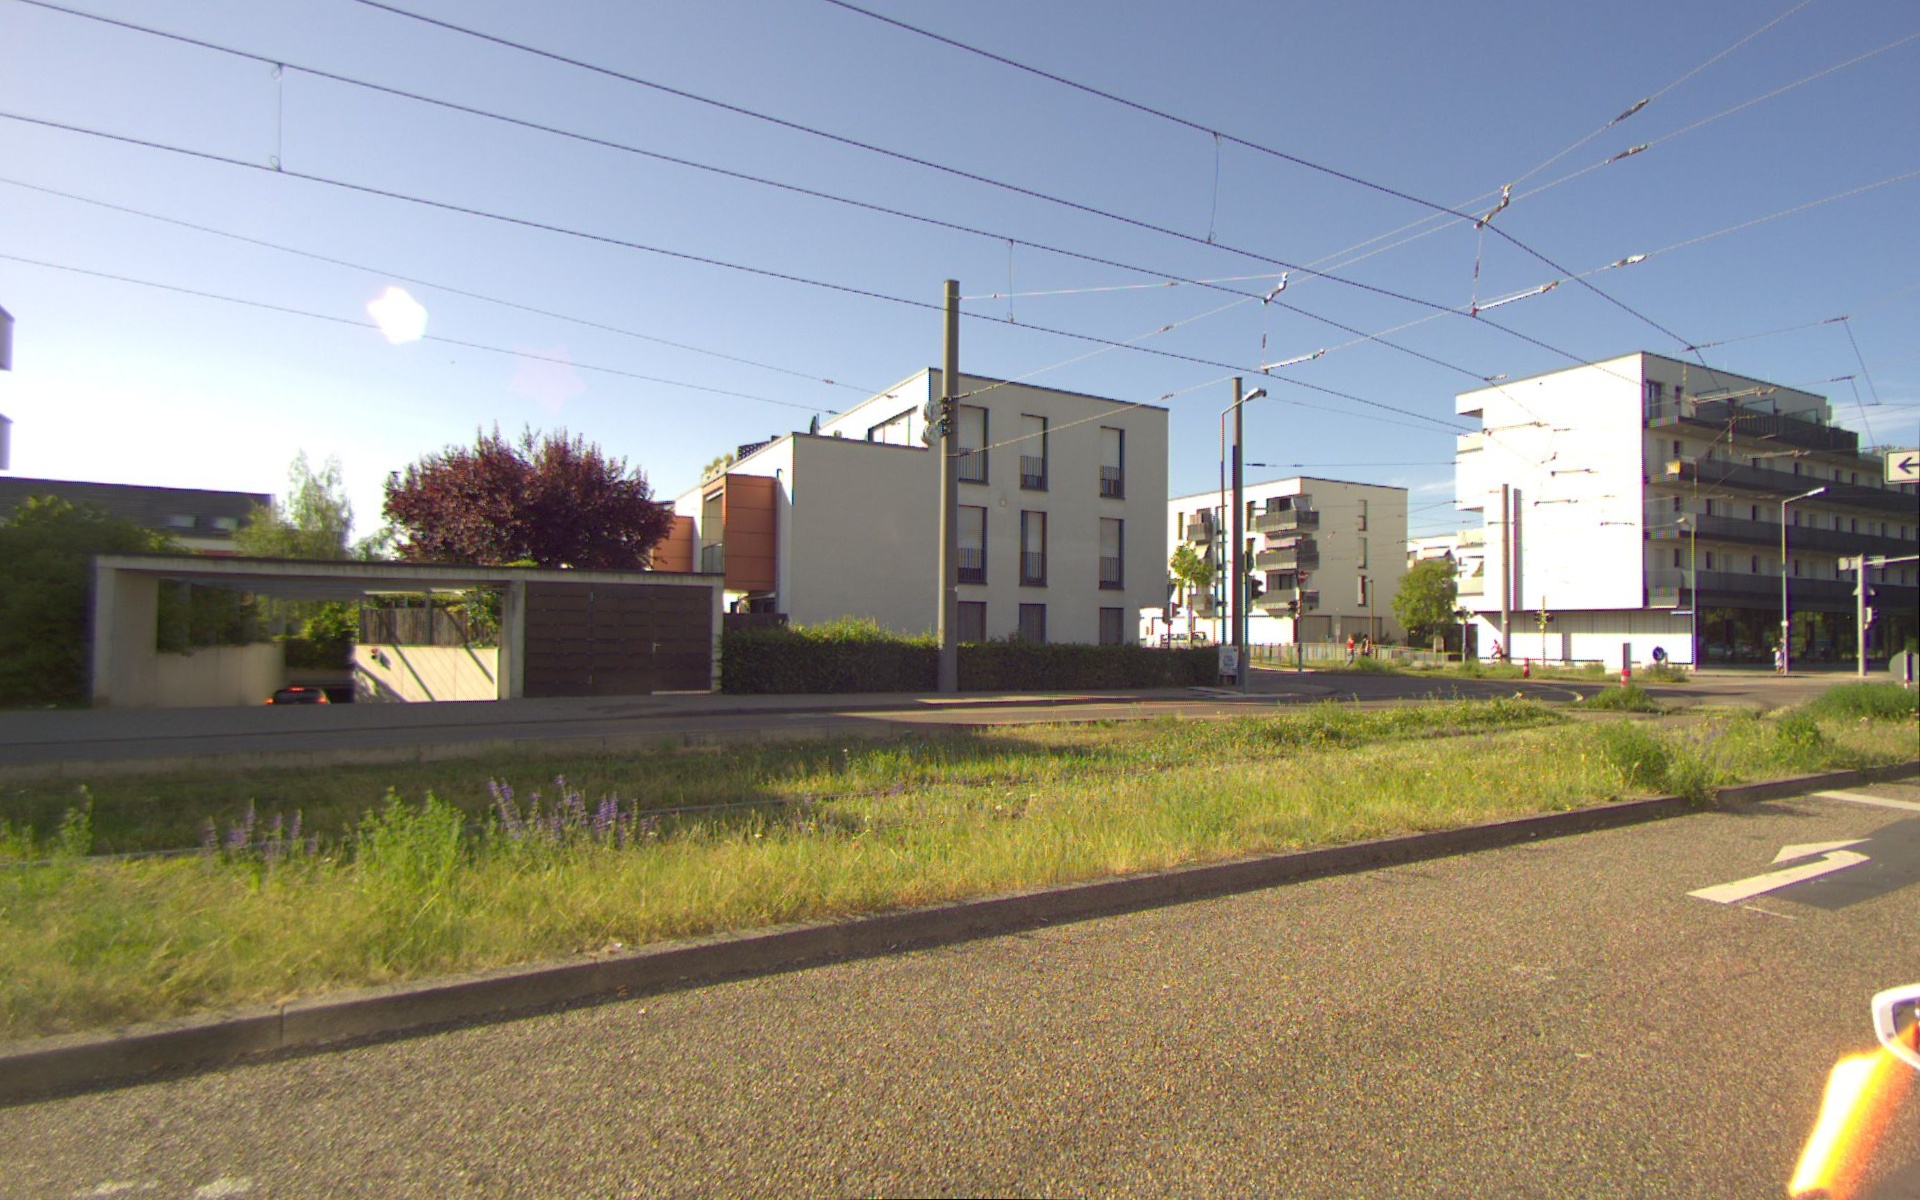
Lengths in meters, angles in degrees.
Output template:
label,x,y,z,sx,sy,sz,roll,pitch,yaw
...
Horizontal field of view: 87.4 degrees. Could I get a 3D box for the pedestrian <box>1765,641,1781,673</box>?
label,x,y,z,sx,sy,sz,roll,pitch,yaw
pedestrian,39.828,2.795,49.195,0.513,1.523,0.438,2,0,-35

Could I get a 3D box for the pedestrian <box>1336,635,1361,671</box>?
label,x,y,z,sx,sy,sz,roll,pitch,yaw
pedestrian,17.976,2.460,46.472,0.735,1.626,0.766,2,0,-36

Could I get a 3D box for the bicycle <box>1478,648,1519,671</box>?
label,x,y,z,sx,sy,sz,roll,pitch,yaw
bicycle,28.363,3.113,52.911,1.828,1.139,0.821,2,0,-12

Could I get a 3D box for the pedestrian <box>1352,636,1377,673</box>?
label,x,y,z,sx,sy,sz,roll,pitch,yaw
pedestrian,18.334,2.466,45.517,0.735,1.626,0.766,2,0,-36

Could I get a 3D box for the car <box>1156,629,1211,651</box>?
label,x,y,z,sx,sy,sz,roll,pitch,yaw
car,17.828,3.190,80.209,1.974,1.595,4.309,2,0,-27

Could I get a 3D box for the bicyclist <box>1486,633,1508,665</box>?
label,x,y,z,sx,sy,sz,roll,pitch,yaw
bicyclist,28.264,2.570,52.883,0.629,1.635,0.783,2,0,-11

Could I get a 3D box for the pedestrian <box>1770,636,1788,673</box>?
label,x,y,z,sx,sy,sz,roll,pitch,yaw
pedestrian,40.356,2.677,49.521,0.513,1.767,0.539,2,0,-35

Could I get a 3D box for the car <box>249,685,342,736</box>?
label,x,y,z,sx,sy,sz,roll,pitch,yaw
car,-19.637,3.293,29.835,1.554,1.344,3.981,0,-6,-23
